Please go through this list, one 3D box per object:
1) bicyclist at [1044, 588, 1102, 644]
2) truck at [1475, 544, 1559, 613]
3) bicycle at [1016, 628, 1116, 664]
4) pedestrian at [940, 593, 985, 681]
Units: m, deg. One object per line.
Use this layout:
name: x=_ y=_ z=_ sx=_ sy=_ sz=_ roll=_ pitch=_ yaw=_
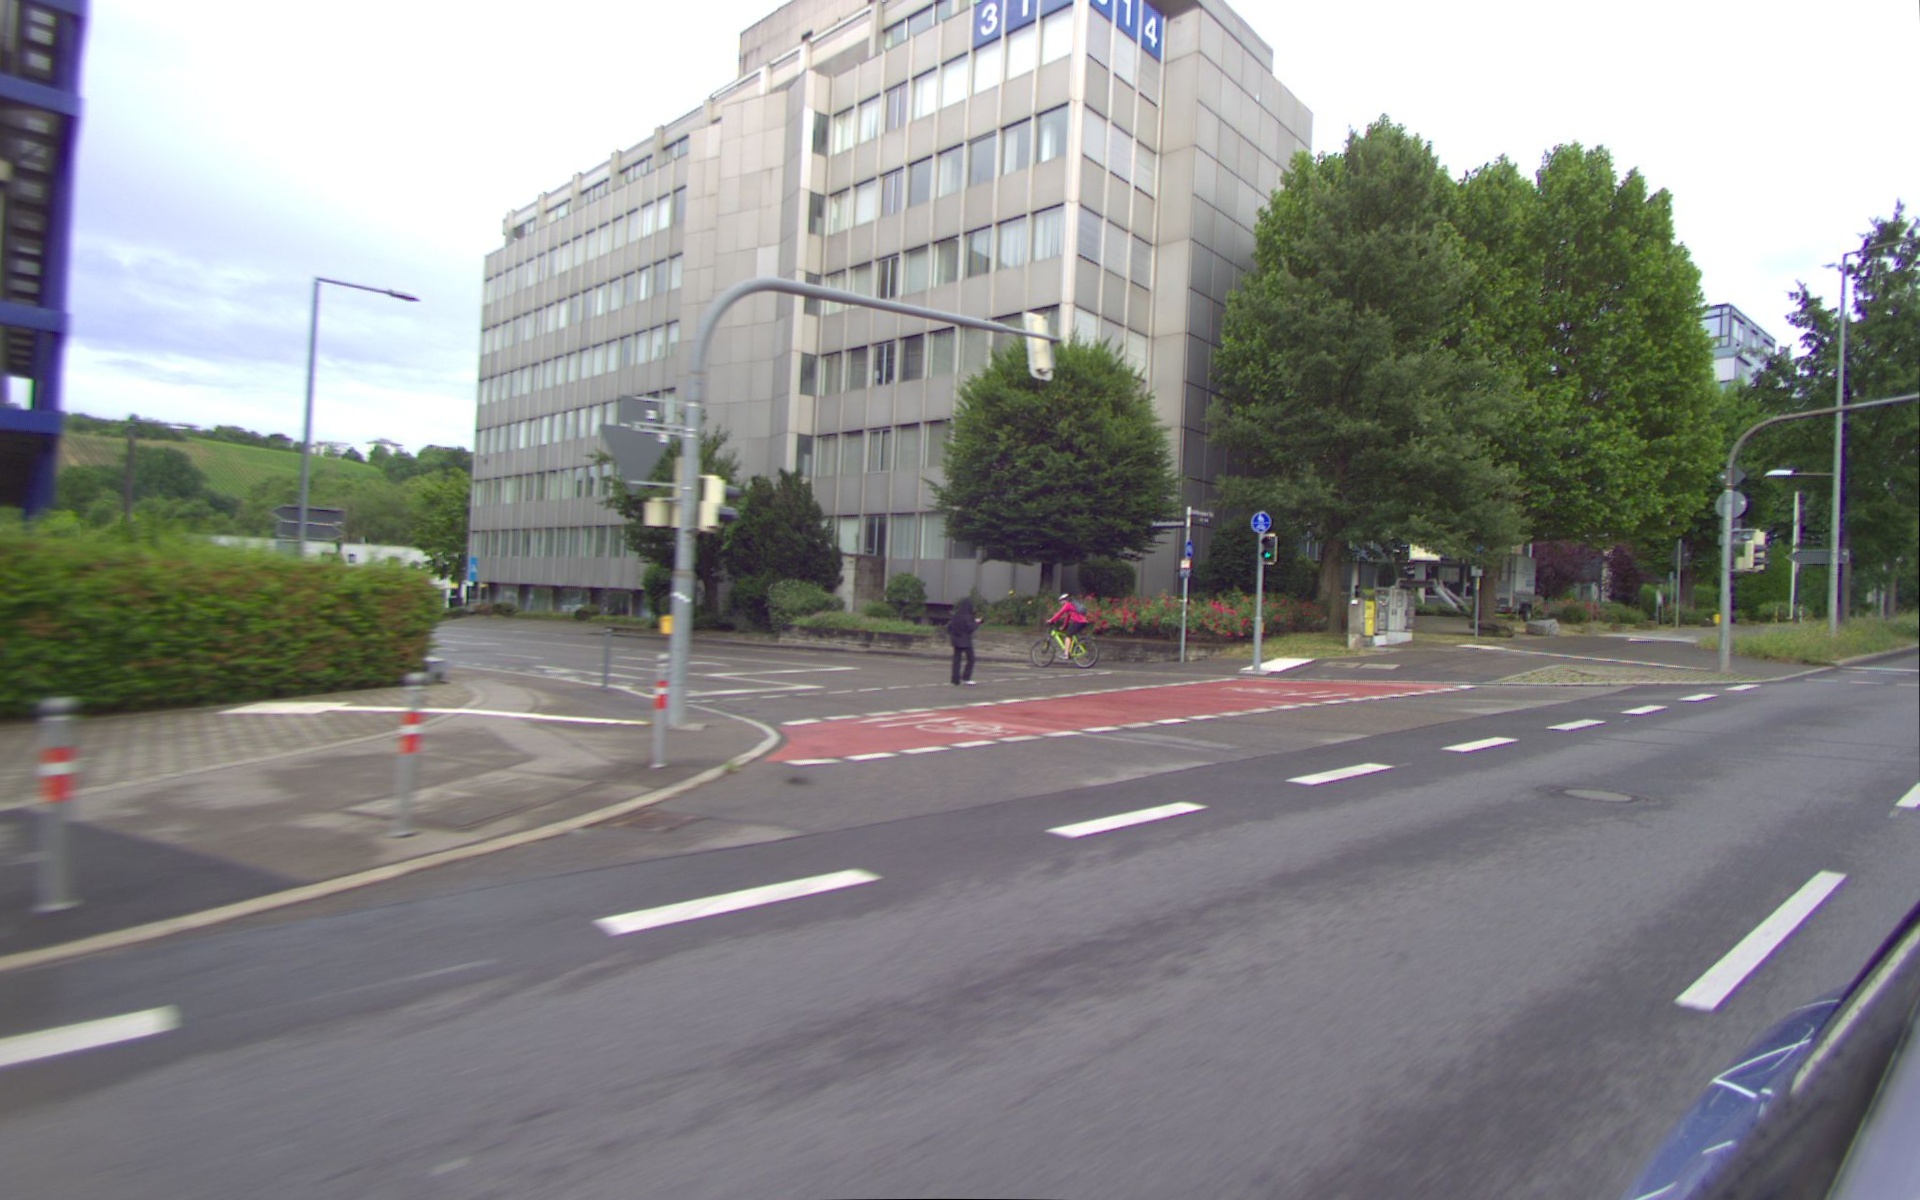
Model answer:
bicyclist: x=2.696 y=0.378 z=24.120 sx=1.206 sy=1.304 sz=0.651 roll=-1 pitch=-1 yaw=26
truck: x=21.511 y=-0.802 z=39.038 sx=3.934 sy=2.549 sz=1.747 roll=-1 pitch=0 yaw=-44
bicycle: x=2.524 y=1.087 z=24.187 sx=2.294 sy=0.819 sz=0.663 roll=-1 pitch=0 yaw=26
pedestrian: x=0.042 y=0.660 z=18.543 sx=0.784 sy=1.560 sz=0.904 roll=1 pitch=1 yaw=-1
